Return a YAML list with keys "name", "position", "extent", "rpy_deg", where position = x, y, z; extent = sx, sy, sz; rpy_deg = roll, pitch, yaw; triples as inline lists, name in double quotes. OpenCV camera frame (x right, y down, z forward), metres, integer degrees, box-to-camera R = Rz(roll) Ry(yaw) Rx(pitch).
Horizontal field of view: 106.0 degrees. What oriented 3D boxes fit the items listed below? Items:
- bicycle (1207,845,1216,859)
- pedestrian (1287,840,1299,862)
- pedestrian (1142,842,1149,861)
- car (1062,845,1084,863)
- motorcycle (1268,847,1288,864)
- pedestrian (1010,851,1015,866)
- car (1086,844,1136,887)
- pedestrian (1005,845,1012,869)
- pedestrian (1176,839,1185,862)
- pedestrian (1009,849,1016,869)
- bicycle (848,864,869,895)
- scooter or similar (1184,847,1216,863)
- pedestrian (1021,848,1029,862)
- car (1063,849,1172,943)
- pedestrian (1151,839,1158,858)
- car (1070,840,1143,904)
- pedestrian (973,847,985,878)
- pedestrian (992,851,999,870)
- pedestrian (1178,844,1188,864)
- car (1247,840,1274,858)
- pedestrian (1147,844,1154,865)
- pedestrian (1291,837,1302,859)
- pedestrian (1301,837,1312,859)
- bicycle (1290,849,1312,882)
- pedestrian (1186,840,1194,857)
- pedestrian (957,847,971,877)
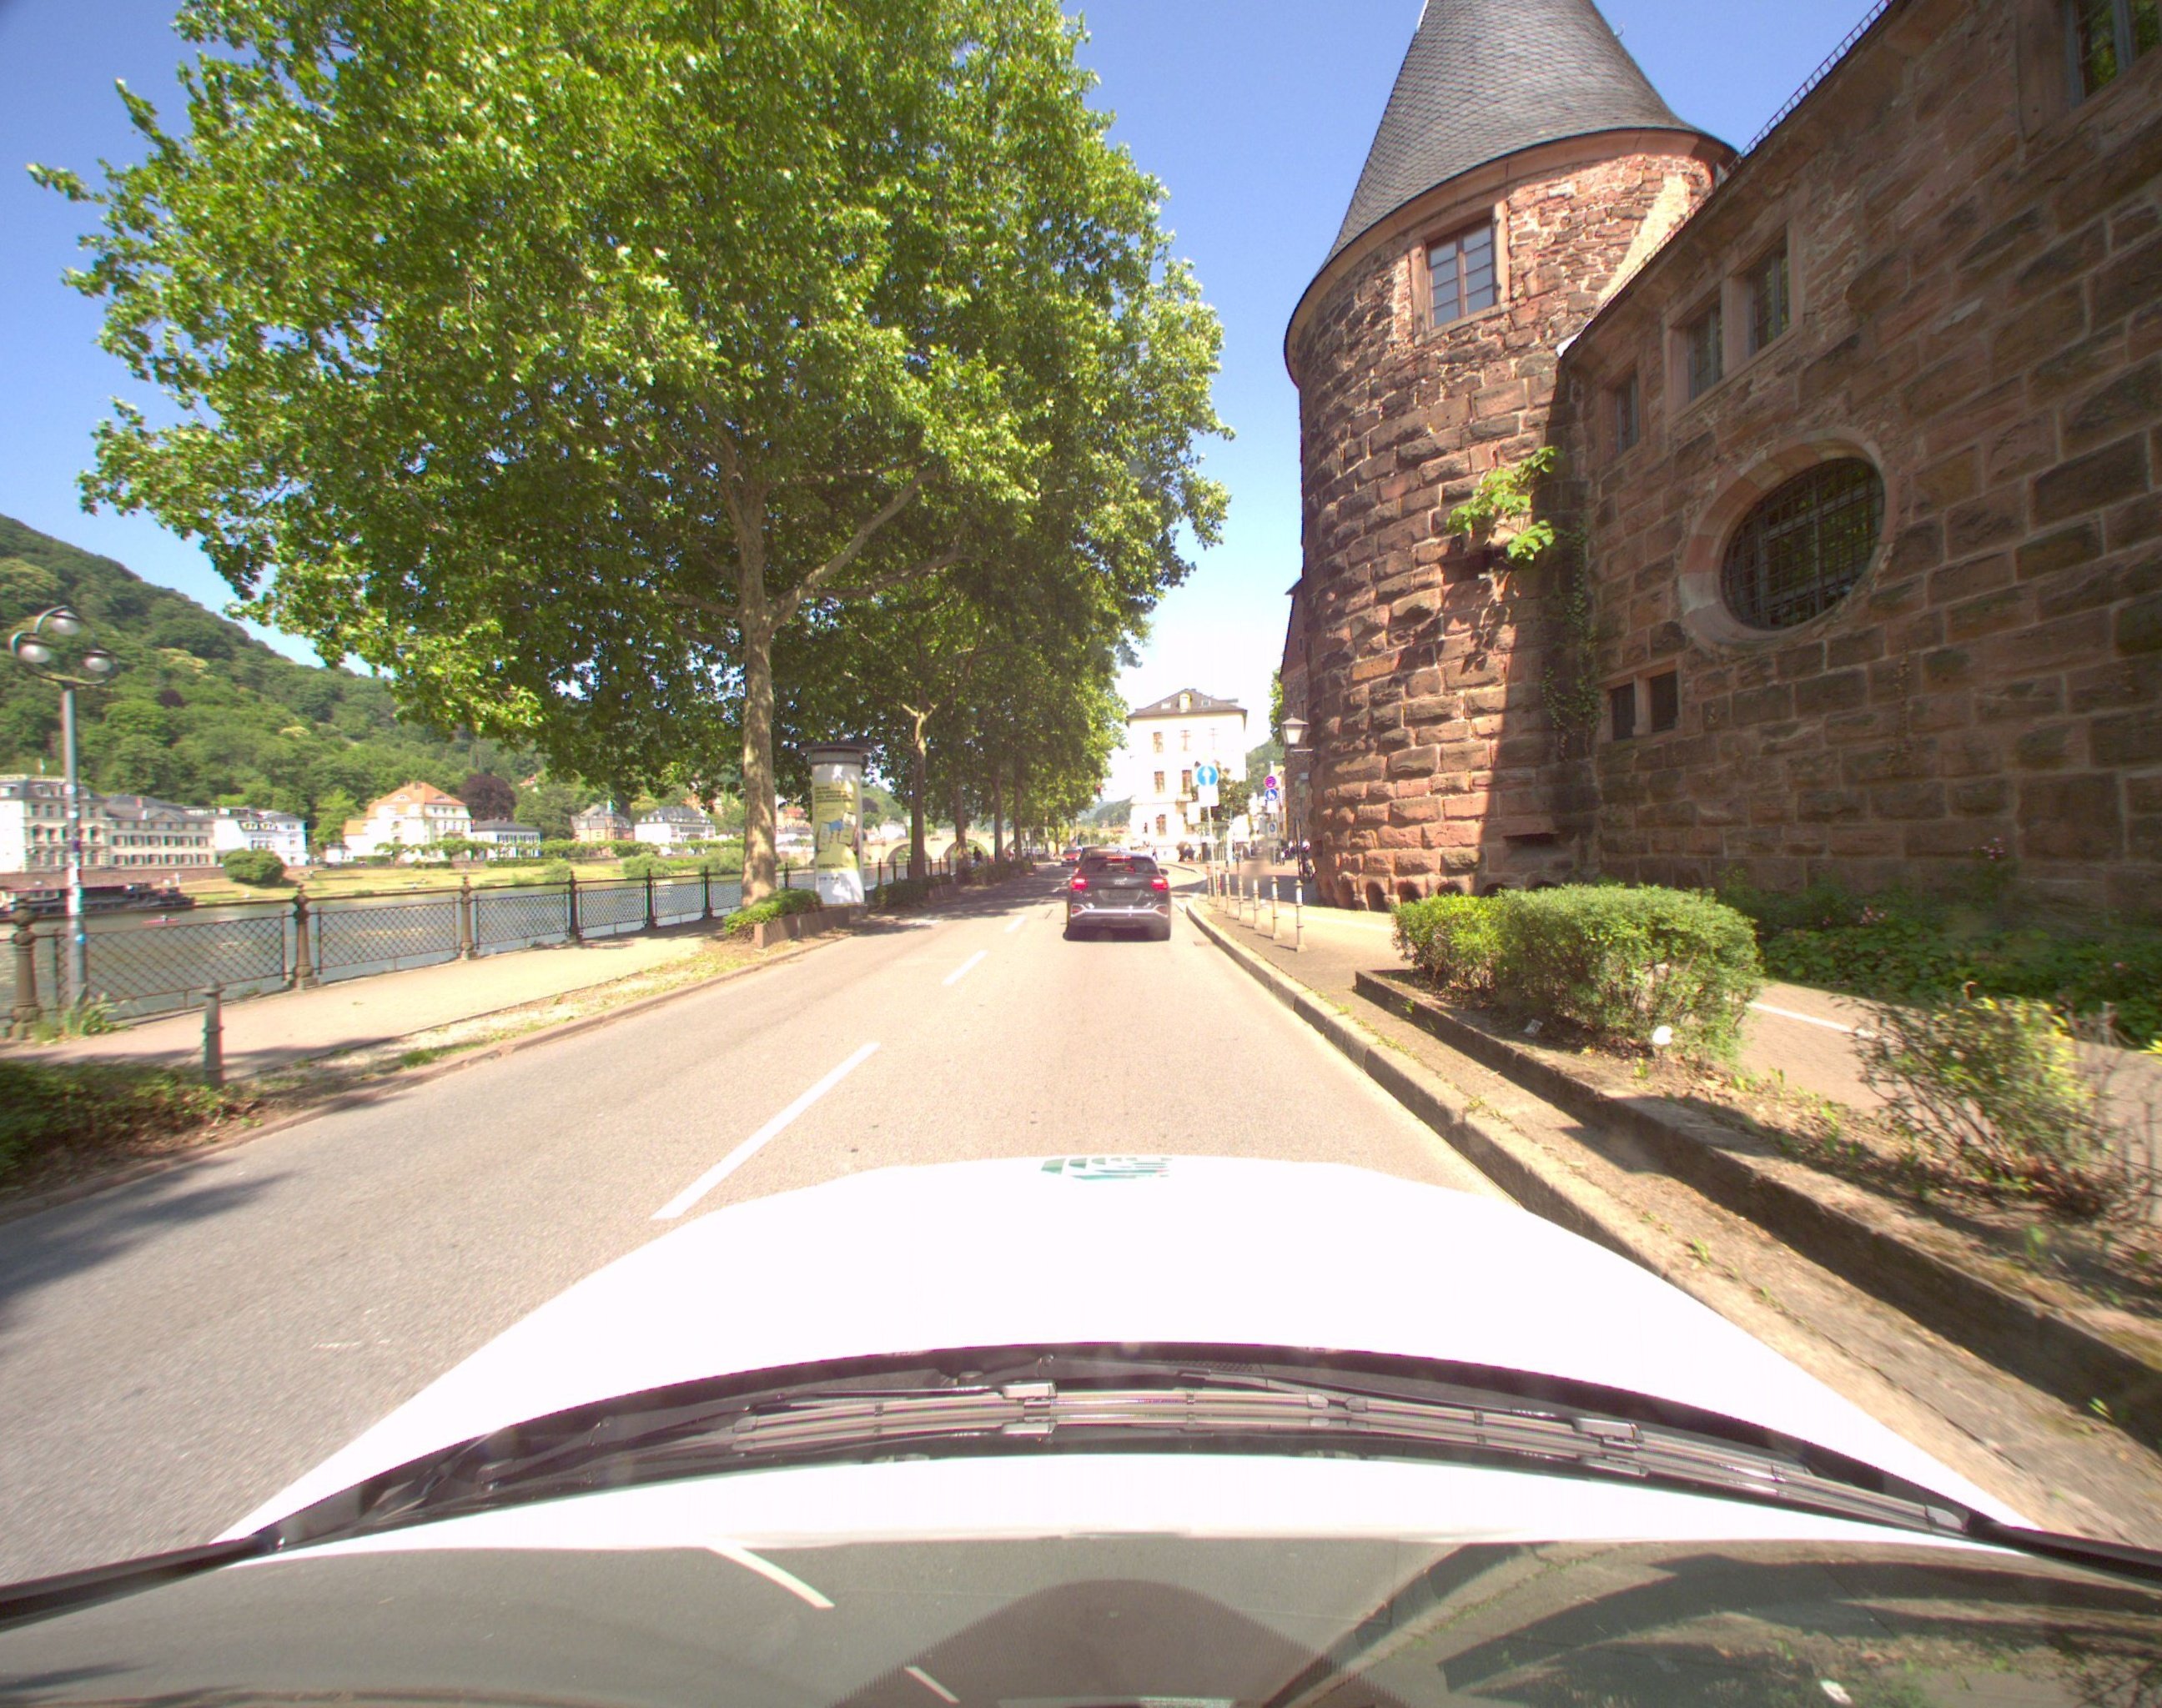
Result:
- name: "bicycle"
  position: [9.196, -0.122, 57.307]
  extent: [0.449, 0.974, 1.400]
  rpy_deg: [0, 0, 2]
- name: "pedestrian"
  position: [14.211, -0.210, 54.623]
  extent: [0.655, 1.493, 0.548]
  rpy_deg: [0, 0, 3]
- name: "pedestrian"
  position: [5.287, -0.225, 67.019]
  extent: [0.555, 1.557, 0.660]
  rpy_deg: [0, 0, 3]
- name: "car"
  position: [-0.659, -0.026, 72.378]
  extent: [1.608, 1.523, 3.480]
  rpy_deg: [-3, 0, 4]
- name: "motorcycle"
  position: [9.640, 0.058, 39.877]
  extent: [0.481, 0.818, 2.281]
  rpy_deg: [-3, 0, 2]
- name: "pedestrian"
  position: [-6.722, 0.432, 79.862]
  extent: [0.407, 1.425, 0.457]
  rpy_deg: [-3, 0, -1]
- name: "car"
  position: [1.183, 0.413, 32.130]
  extent: [1.794, 1.523, 3.718]
  rpy_deg: [-3, 0, 2]
- name: "pedestrian"
  position: [-6.089, 0.265, 68.129]
  extent: [0.499, 1.958, 0.438]
  rpy_deg: [-3, 0, -5]
- name: "pedestrian"
  position: [6.994, -0.244, 57.098]
  extent: [0.555, 1.633, 0.660]
  rpy_deg: [0, 0, 3]
- name: "pedestrian"
  position: [-5.629, 0.398, 67.021]
  extent: [0.516, 1.637, 0.438]
  rpy_deg: [-3, 0, -5]
- name: "bicycle"
  position: [-8.615, 0.977, 31.559]
  extent: [0.356, 1.162, 1.825]
  rpy_deg: [0, 0, -1]
- name: "scooter or similar"
  position: [7.209, 0.052, 49.367]
  extent: [1.838, 0.963, 0.429]
  rpy_deg: [0, 0, 1]
- name: "pedestrian"
  position: [-5.116, 0.104, 73.871]
  extent: [0.588, 1.278, 0.526]
  rpy_deg: [-3, 0, 2]
- name: "car"
  position: [0.624, 0.664, 14.929]
  extent: [1.742, 1.494, 3.630]
  rpy_deg: [0, 0, 1]
- name: "pedestrian"
  position: [6.007, -0.447, 66.387]
  extent: [0.555, 1.557, 0.660]
  rpy_deg: [0, 0, 3]
- name: "car"
  position: [0.731, 0.441, 22.866]
  extent: [1.794, 1.562, 3.718]
  rpy_deg: [-3, 0, 2]
- name: "pedestrian"
  position: [-5.957, 0.503, 47.665]
  extent: [0.562, 1.741, 0.665]
  rpy_deg: [-3, 0, -1]
- name: "pedestrian"
  position: [-7.391, 0.562, 70.049]
  extent: [0.496, 1.537, 0.678]
  rpy_deg: [-3, 0, -5]
- name: "pedestrian"
  position: [8.150, 0.015, 64.950]
  extent: [0.744, 1.557, 0.589]
  rpy_deg: [0, 0, 3]
- name: "car"
  position: [18.034, -0.519, 81.939]
  extent: [1.986, 1.716, 4.002]
  rpy_deg: [0, 0, 2]
- name: "pedestrian"
  position: [5.314, 0.022, 62.318]
  extent: [0.555, 1.557, 0.660]
  rpy_deg: [0, 0, 3]
- name: "pedestrian"
  position: [15.228, -0.406, 57.488]
  extent: [0.655, 1.517, 0.548]
  rpy_deg: [0, 0, 3]
- name: "pedestrian"
  position: [15.902, -0.405, 57.451]
  extent: [0.655, 1.517, 0.627]
  rpy_deg: [0, 0, 3]
- name: "bicycle"
  position: [7.195, 0.351, 26.684]
  extent: [0.493, 1.030, 2.056]
  rpy_deg: [-3, 0, 10]
- name: "pedestrian"
  position: [7.737, -0.363, 57.891]
  extent: [0.544, 1.201, 0.523]
  rpy_deg: [0, 0, 3]
- name: "pedestrian"
  position: [-6.852, 0.458, 47.655]
  extent: [0.643, 1.717, 0.665]
  rpy_deg: [-1, 0, -1]
